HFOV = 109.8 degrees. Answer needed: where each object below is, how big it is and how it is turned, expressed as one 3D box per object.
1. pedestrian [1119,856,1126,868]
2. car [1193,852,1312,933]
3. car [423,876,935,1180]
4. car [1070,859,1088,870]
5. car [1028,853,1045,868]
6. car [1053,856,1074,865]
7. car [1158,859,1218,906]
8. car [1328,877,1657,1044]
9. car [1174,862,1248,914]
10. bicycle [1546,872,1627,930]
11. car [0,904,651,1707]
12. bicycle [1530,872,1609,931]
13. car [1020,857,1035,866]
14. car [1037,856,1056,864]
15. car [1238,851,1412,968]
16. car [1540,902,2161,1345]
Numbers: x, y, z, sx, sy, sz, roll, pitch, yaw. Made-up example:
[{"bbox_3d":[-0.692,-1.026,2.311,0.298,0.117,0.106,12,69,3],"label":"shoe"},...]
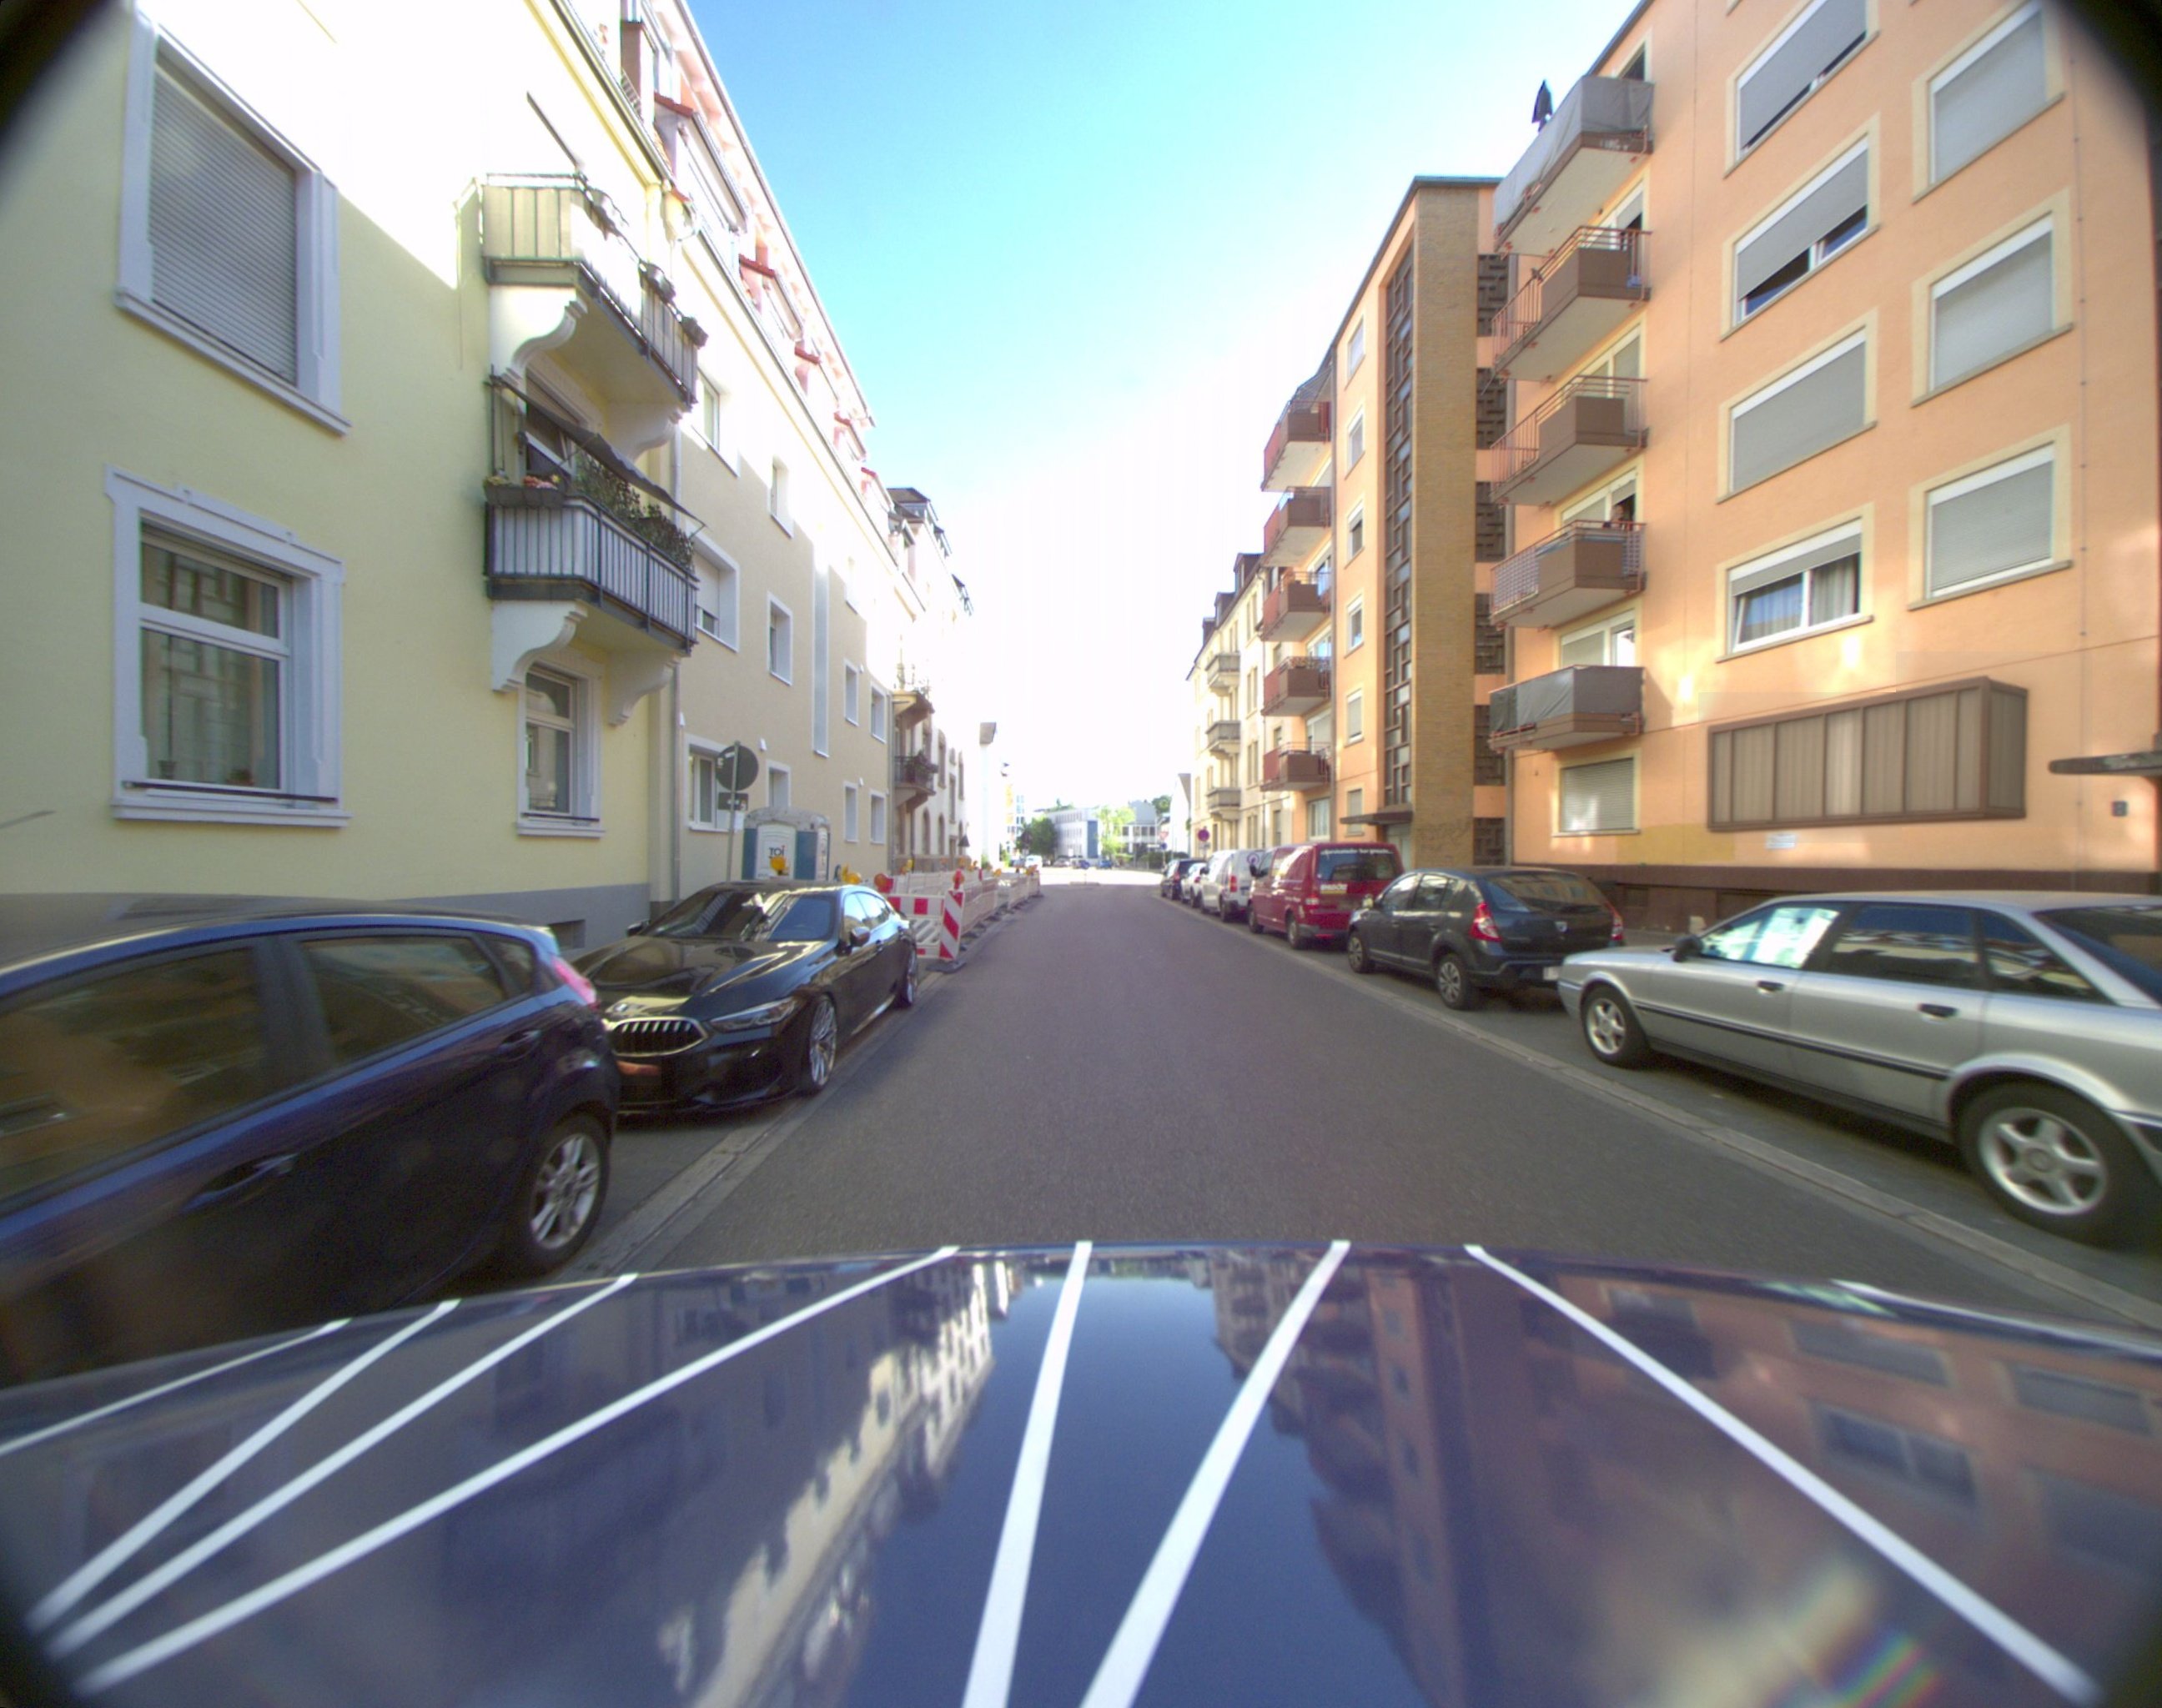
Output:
[{"bbox_3d":[6.162,1.201,113.005,0.820,1.696,0.996,-1,1,-10],"label":"pedestrian"},{"bbox_3d":[4.515,0.929,20.913,1.981,1.914,5.308,-1,0,-1],"label":"car"},{"bbox_3d":[-2.672,1.027,6.691,1.806,1.462,5.111,2,0,-1],"label":"car"},{"bbox_3d":[-0.347,1.598,118.445,1.881,1.685,4.269,0,-1,-13],"label":"car"},{"bbox_3d":[-6.329,0.861,108.079,1.998,2.002,4.797,3,0,1],"label":"car"},{"bbox_3d":[-3.319,1.135,142.221,2.141,1.604,4.826,-2,1,-23],"label":"car"},{"bbox_3d":[4.337,1.098,31.363,1.767,1.760,4.293,-1,0,-1],"label":"car"},{"bbox_3d":[4.644,1.096,9.354,1.767,1.493,3.999,1,0,-2],"label":"car"},{"bbox_3d":[4.444,1.097,26.535,1.767,1.611,4.294,-1,0,-1],"label":"car"},{"bbox_3d":[10.455,0.937,15.774,0.342,1.107,1.762,0,0,-6],"label":"bicycle"},{"bbox_3d":[-2.812,0.992,1.501,1.768,1.462,4.083,2,0,-4],"label":"car"},{"bbox_3d":[10.070,0.942,15.721,0.342,1.107,1.762,0,0,-6],"label":"bicycle"},{"bbox_3d":[-9.469,1.262,133.802,1.760,1.445,3.994,4,-1,-15],"label":"car"},{"bbox_3d":[-6.913,1.201,151.525,2.141,1.604,4.826,-2,1,-21],"label":"car"},{"bbox_3d":[4.539,0.918,15.021,1.767,1.914,4.934,-1,0,-1],"label":"car"},{"bbox_3d":[4.834,1.105,4.302,1.767,1.369,4.478,-1,0,0],"label":"car"}]
